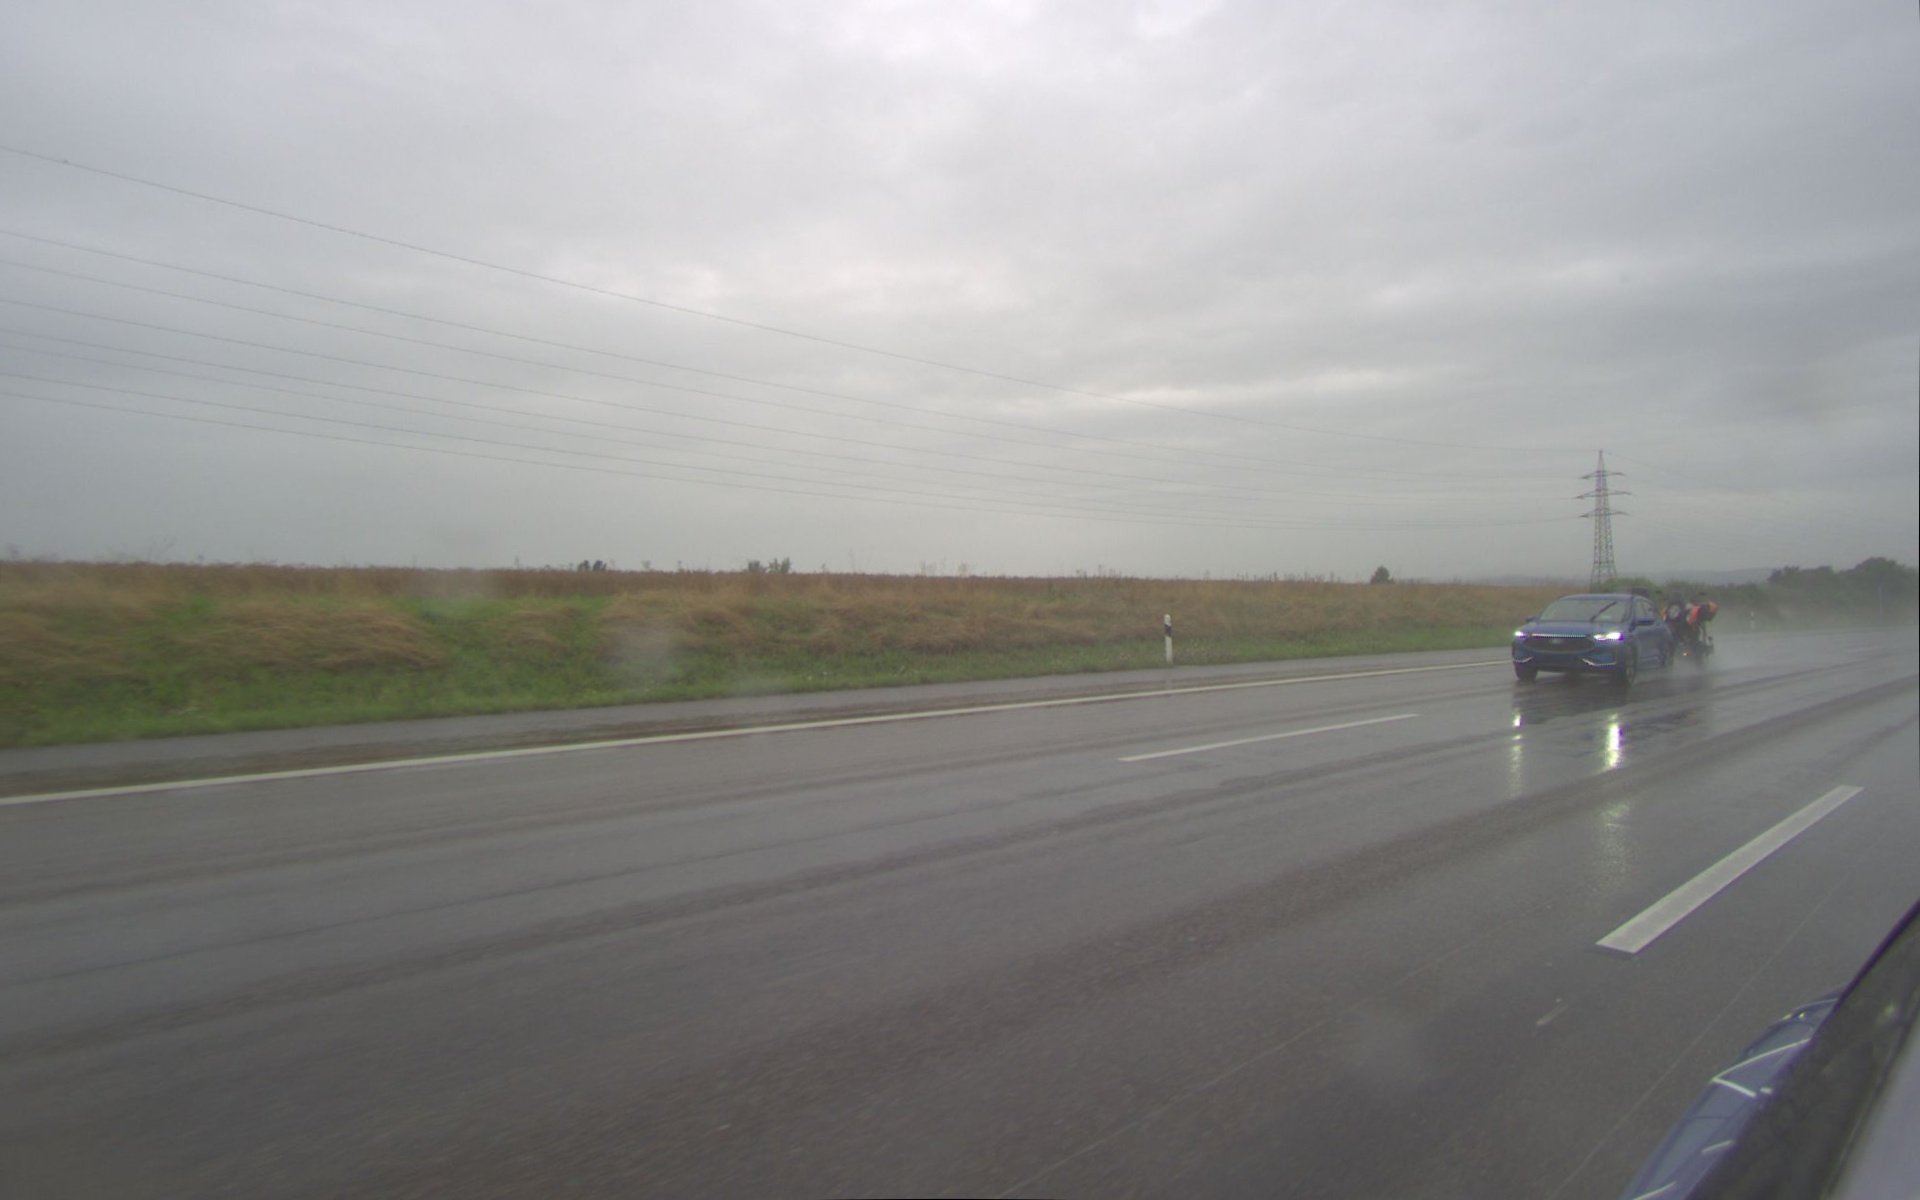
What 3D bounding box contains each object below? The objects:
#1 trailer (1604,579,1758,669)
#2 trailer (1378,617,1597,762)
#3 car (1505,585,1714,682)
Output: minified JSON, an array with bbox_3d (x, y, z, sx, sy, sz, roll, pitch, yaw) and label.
[{"bbox_3d":[15.665,0.465,21.963,3.132,1.807,1.983,0,0,-40],"label":"trailer"},{"bbox_3d":[8.926,1.358,17.004,3.932,2.039,1.996,-1,0,-42],"label":"trailer"},{"bbox_3d":[12.537,0.556,19.401,4.903,1.639,1.998,0,0,-40],"label":"car"}]
